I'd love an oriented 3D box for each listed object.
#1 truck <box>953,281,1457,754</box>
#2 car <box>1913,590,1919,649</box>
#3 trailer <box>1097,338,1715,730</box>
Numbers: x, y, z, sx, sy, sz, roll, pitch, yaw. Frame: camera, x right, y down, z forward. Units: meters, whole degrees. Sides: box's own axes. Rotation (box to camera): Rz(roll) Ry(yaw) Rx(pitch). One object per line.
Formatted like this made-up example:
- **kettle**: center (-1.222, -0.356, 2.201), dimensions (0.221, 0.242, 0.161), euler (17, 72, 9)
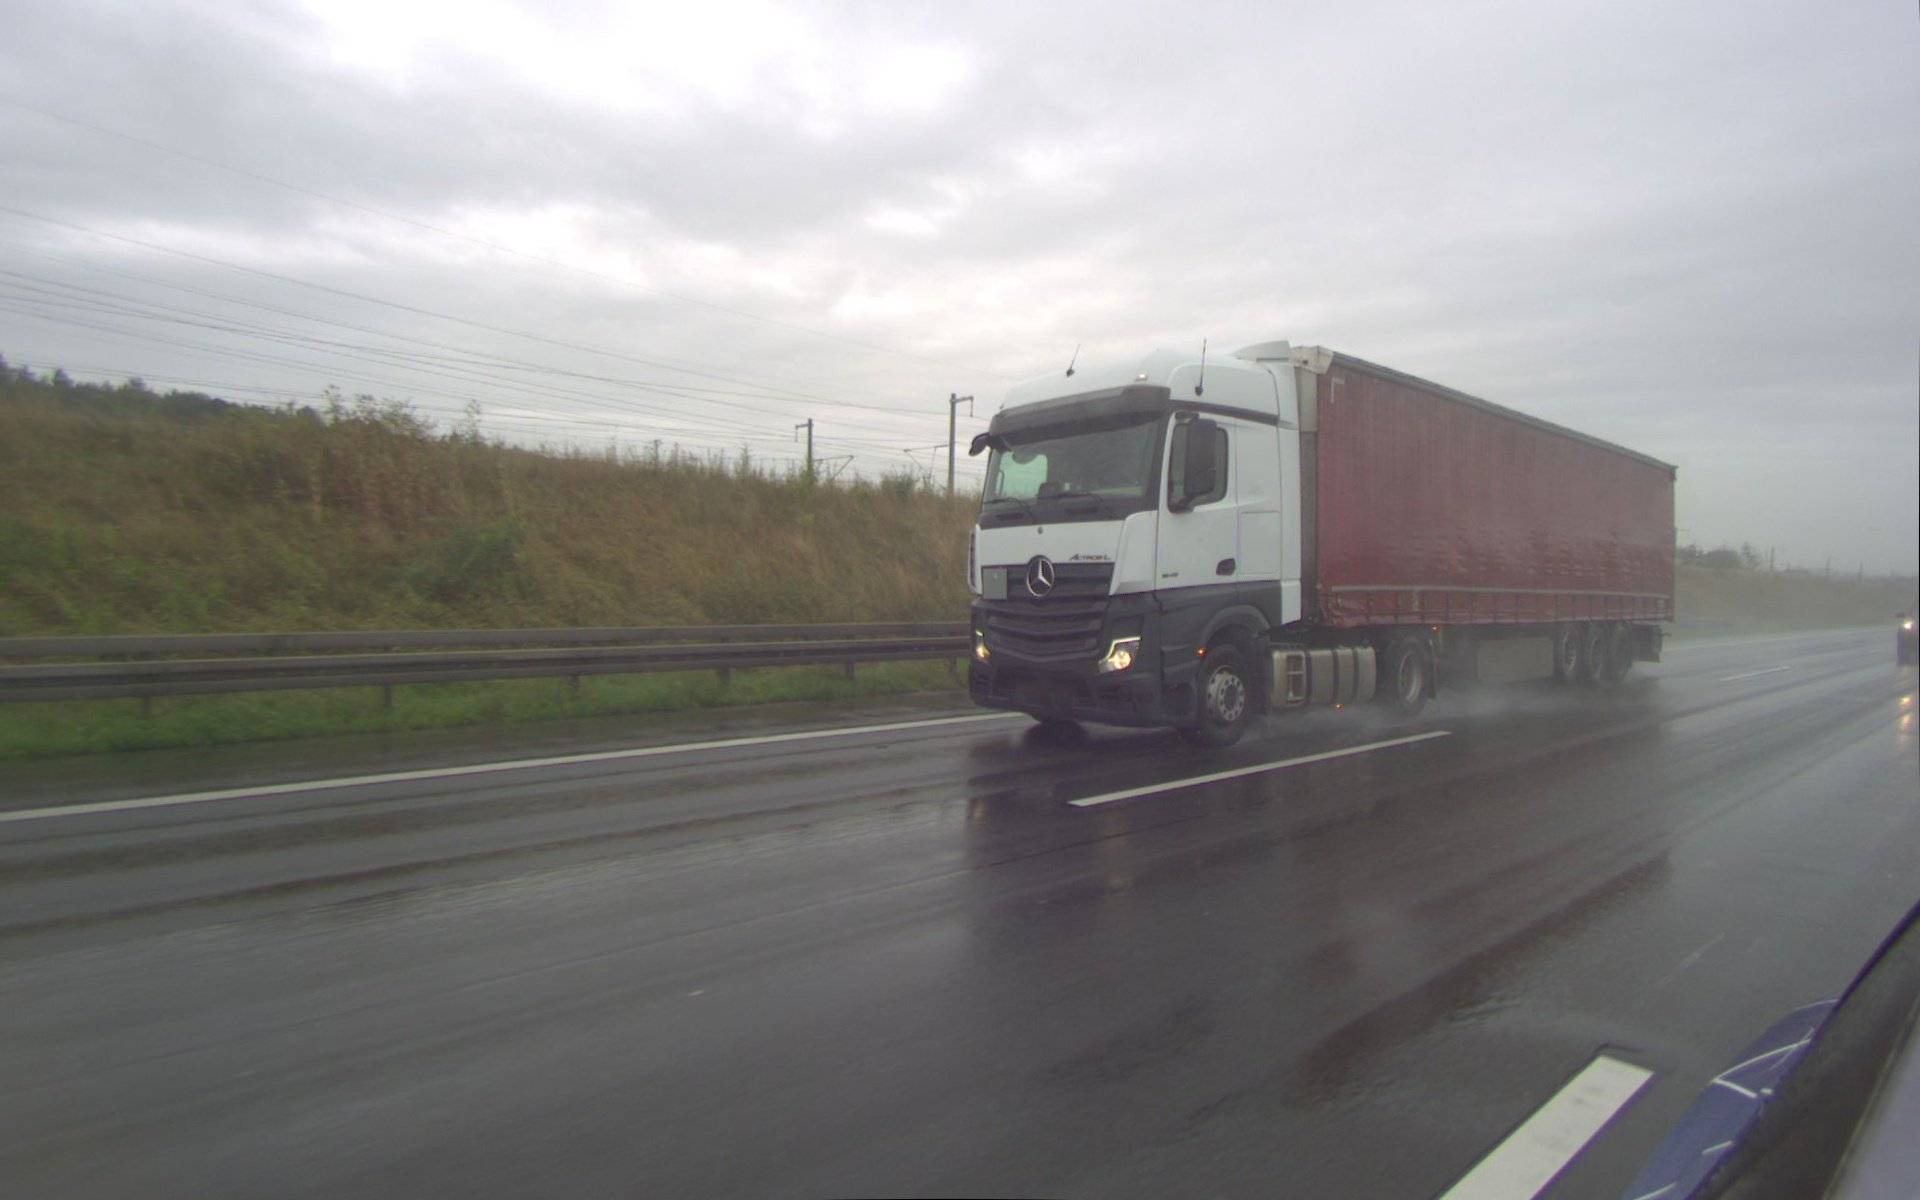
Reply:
- **truck**: center (3.015, -0.711, 11.362), dimensions (6.091, 3.938, 2.456), euler (0, 0, -41)
- **car**: center (26.295, 0.498, 26.460), dimensions (3.769, 1.519, 1.662), euler (0, 0, -41)
- **trailer**: center (8.484, -0.686, 16.179), dimensions (16.257, 3.813, 2.484), euler (0, 0, -41)
